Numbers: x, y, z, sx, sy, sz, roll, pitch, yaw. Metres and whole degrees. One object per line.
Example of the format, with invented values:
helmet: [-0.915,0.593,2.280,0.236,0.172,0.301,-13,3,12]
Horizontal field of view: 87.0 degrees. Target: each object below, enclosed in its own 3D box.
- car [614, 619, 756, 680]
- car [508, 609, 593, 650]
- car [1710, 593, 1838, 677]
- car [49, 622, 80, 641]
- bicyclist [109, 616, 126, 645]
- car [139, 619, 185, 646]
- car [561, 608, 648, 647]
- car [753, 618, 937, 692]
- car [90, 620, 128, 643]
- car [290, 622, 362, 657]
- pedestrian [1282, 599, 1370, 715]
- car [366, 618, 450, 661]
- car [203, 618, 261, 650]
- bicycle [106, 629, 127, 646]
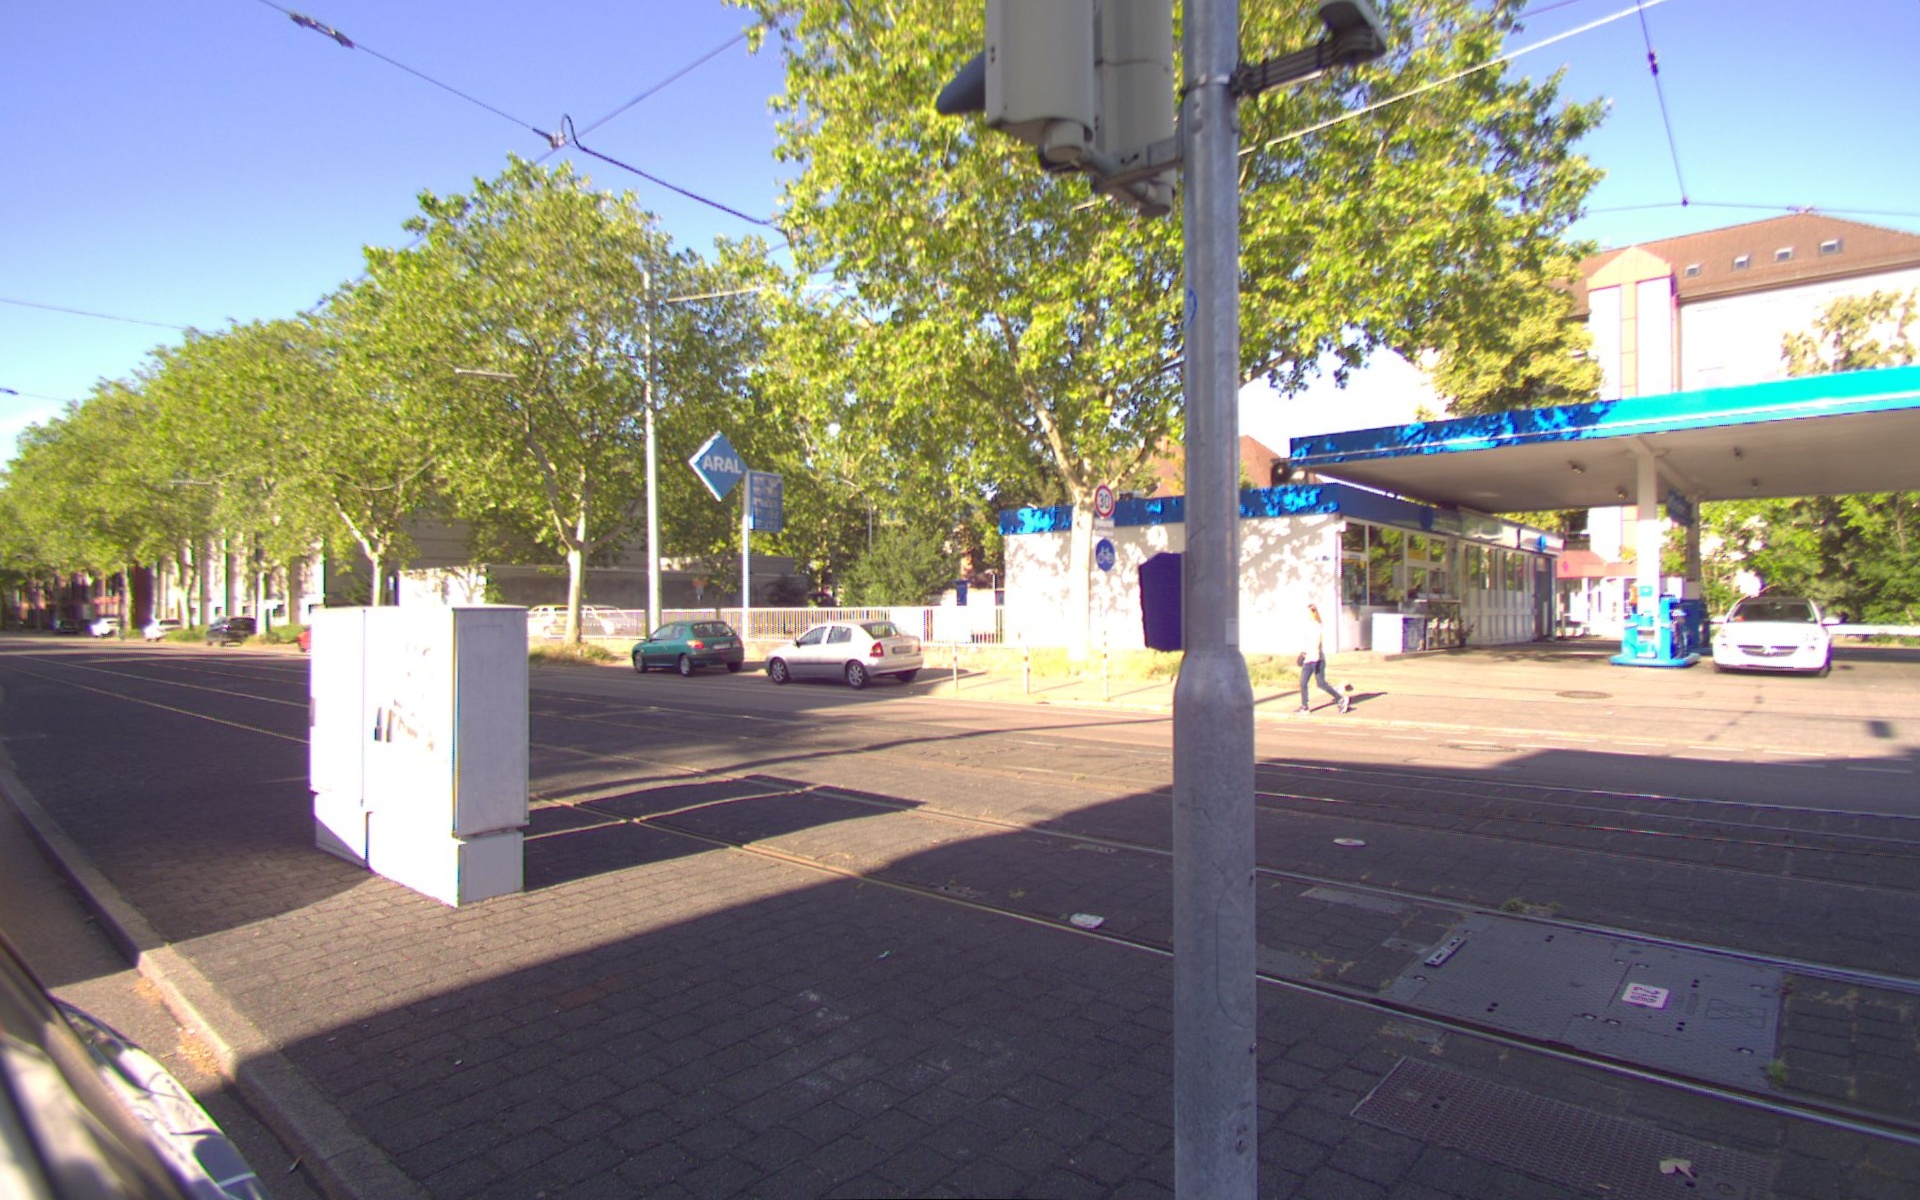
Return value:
car: [-7.430,1.272,27.140,4.138,1.418,1.820,-1,1,45]
car: [-17.133,1.192,42.286,4.002,1.545,1.820,-1,1,45]
car: [16.006,0.646,19.860,1.780,1.475,3.946,-1,-1,40]
car: [-85.036,2.940,96.112,4.098,1.686,1.821,-1,1,44]
bicyclist: [-55.271,1.992,66.398,1.070,1.878,0.711,-1,-2,41]
car: [-53.837,2.155,68.214,4.098,1.686,1.821,-1,1,44]
car: [-15.392,1.169,43.778,3.999,1.545,1.822,-1,1,42]
car: [-2.623,1.175,22.650,3.997,1.418,1.823,-1,1,40]
car: [-66.940,2.483,79.587,4.098,1.686,1.821,-1,1,44]
car: [-28.964,1.770,46.187,4.001,1.418,1.821,-1,1,44]
pedestrian: [5.330,0.819,14.789,1.095,1.631,0.713,-1,-1,14]
car: [-21.964,1.537,40.193,4.002,1.545,1.820,-1,1,45]
car: [-40.654,1.881,56.489,4.098,1.628,1.821,-1,1,44]
bicycle: [-55.286,2.442,66.312,2.532,1.129,0.645,-1,-1,41]
